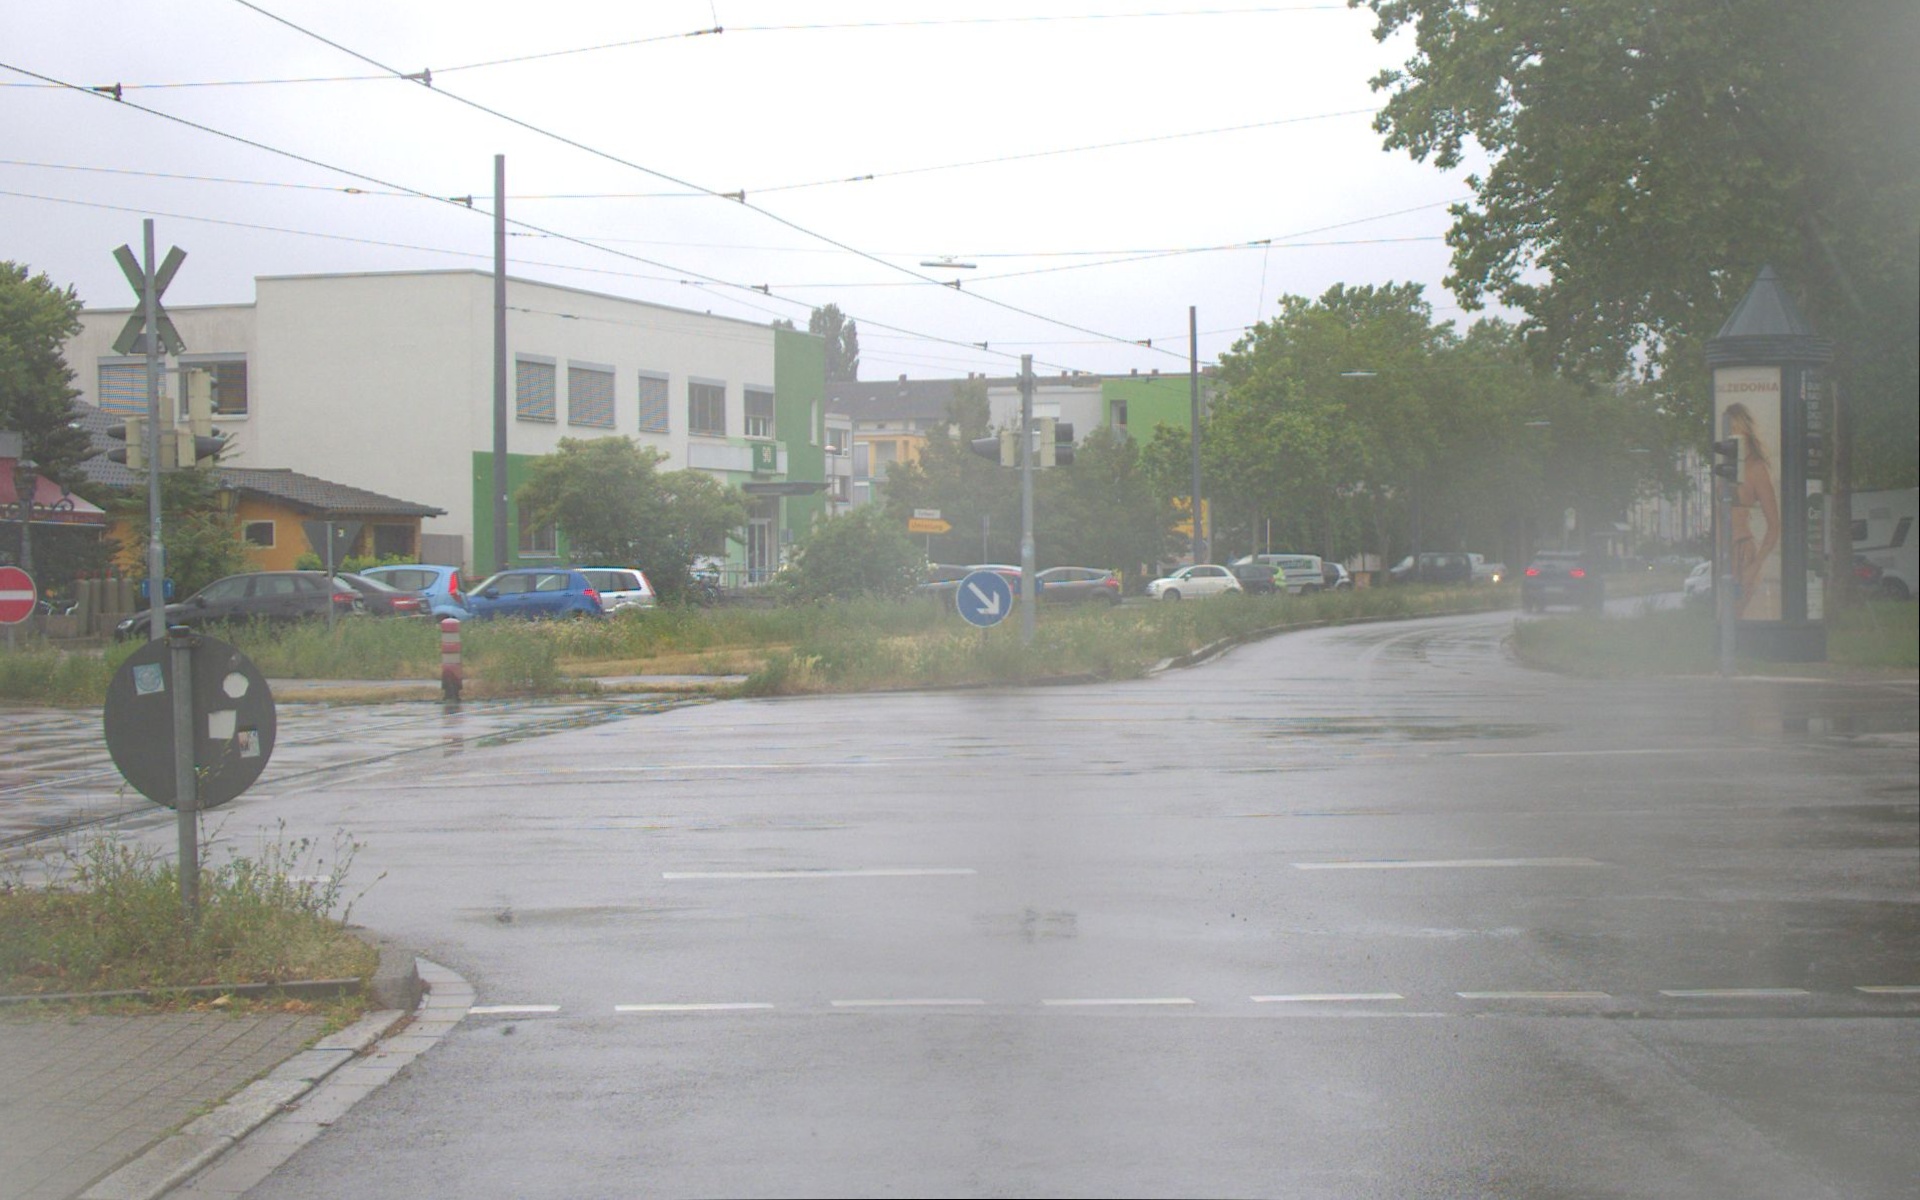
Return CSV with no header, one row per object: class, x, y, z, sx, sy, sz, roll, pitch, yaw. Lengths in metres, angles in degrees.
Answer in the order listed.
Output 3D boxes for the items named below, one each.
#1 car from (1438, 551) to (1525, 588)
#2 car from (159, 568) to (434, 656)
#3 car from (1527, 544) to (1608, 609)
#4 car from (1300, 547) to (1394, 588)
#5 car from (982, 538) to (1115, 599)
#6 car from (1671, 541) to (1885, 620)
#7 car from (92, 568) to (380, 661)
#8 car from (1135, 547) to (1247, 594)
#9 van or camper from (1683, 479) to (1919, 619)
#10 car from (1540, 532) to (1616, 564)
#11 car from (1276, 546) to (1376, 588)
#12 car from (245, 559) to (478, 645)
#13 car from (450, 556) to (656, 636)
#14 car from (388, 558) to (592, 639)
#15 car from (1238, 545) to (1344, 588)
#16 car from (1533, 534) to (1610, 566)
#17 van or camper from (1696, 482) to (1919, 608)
car,26.381,-1.560,174.057,3.986,1.826,2.000,1,0,-5
car,-11.811,0.201,61.395,4.497,1.413,1.858,-2,0,1
car,16.462,-0.638,93.090,1.807,1.680,3.909,1,1,15
car,17.894,-1.523,158.915,3.986,1.826,2.000,1,0,-5
car,2.821,-1.021,110.053,3.986,1.881,2.000,1,0,-7
car,18.466,-0.448,77.596,4.449,1.711,1.998,1,1,21
car,-12.386,0.234,58.988,4.477,1.413,1.858,-2,0,1
car,8.509,-1.090,126.767,3.773,1.697,1.837,1,0,-10
van or camper,20.853,-1.184,80.537,7.328,3.167,3.259,1,1,18
car,36.561,-3.057,203.416,3.986,1.826,2.000,1,0,-5
car,16.374,-1.493,153.845,3.986,1.826,2.001,1,0,-11
car,-11.249,0.031,64.793,3.987,1.576,1.858,0,0,4
car,-8.644,-0.090,72.911,4.107,1.635,1.930,-1,0,-14
car,-9.554,-0.042,69.703,3.986,1.576,1.930,-1,0,-11
car,13.937,-1.399,144.882,3.986,1.752,2.011,1,1,-11
car,35.314,-2.892,198.684,3.986,1.826,2.000,1,0,-5
van or camper,23.239,-1.425,89.619,7.434,3.167,3.259,1,1,22
